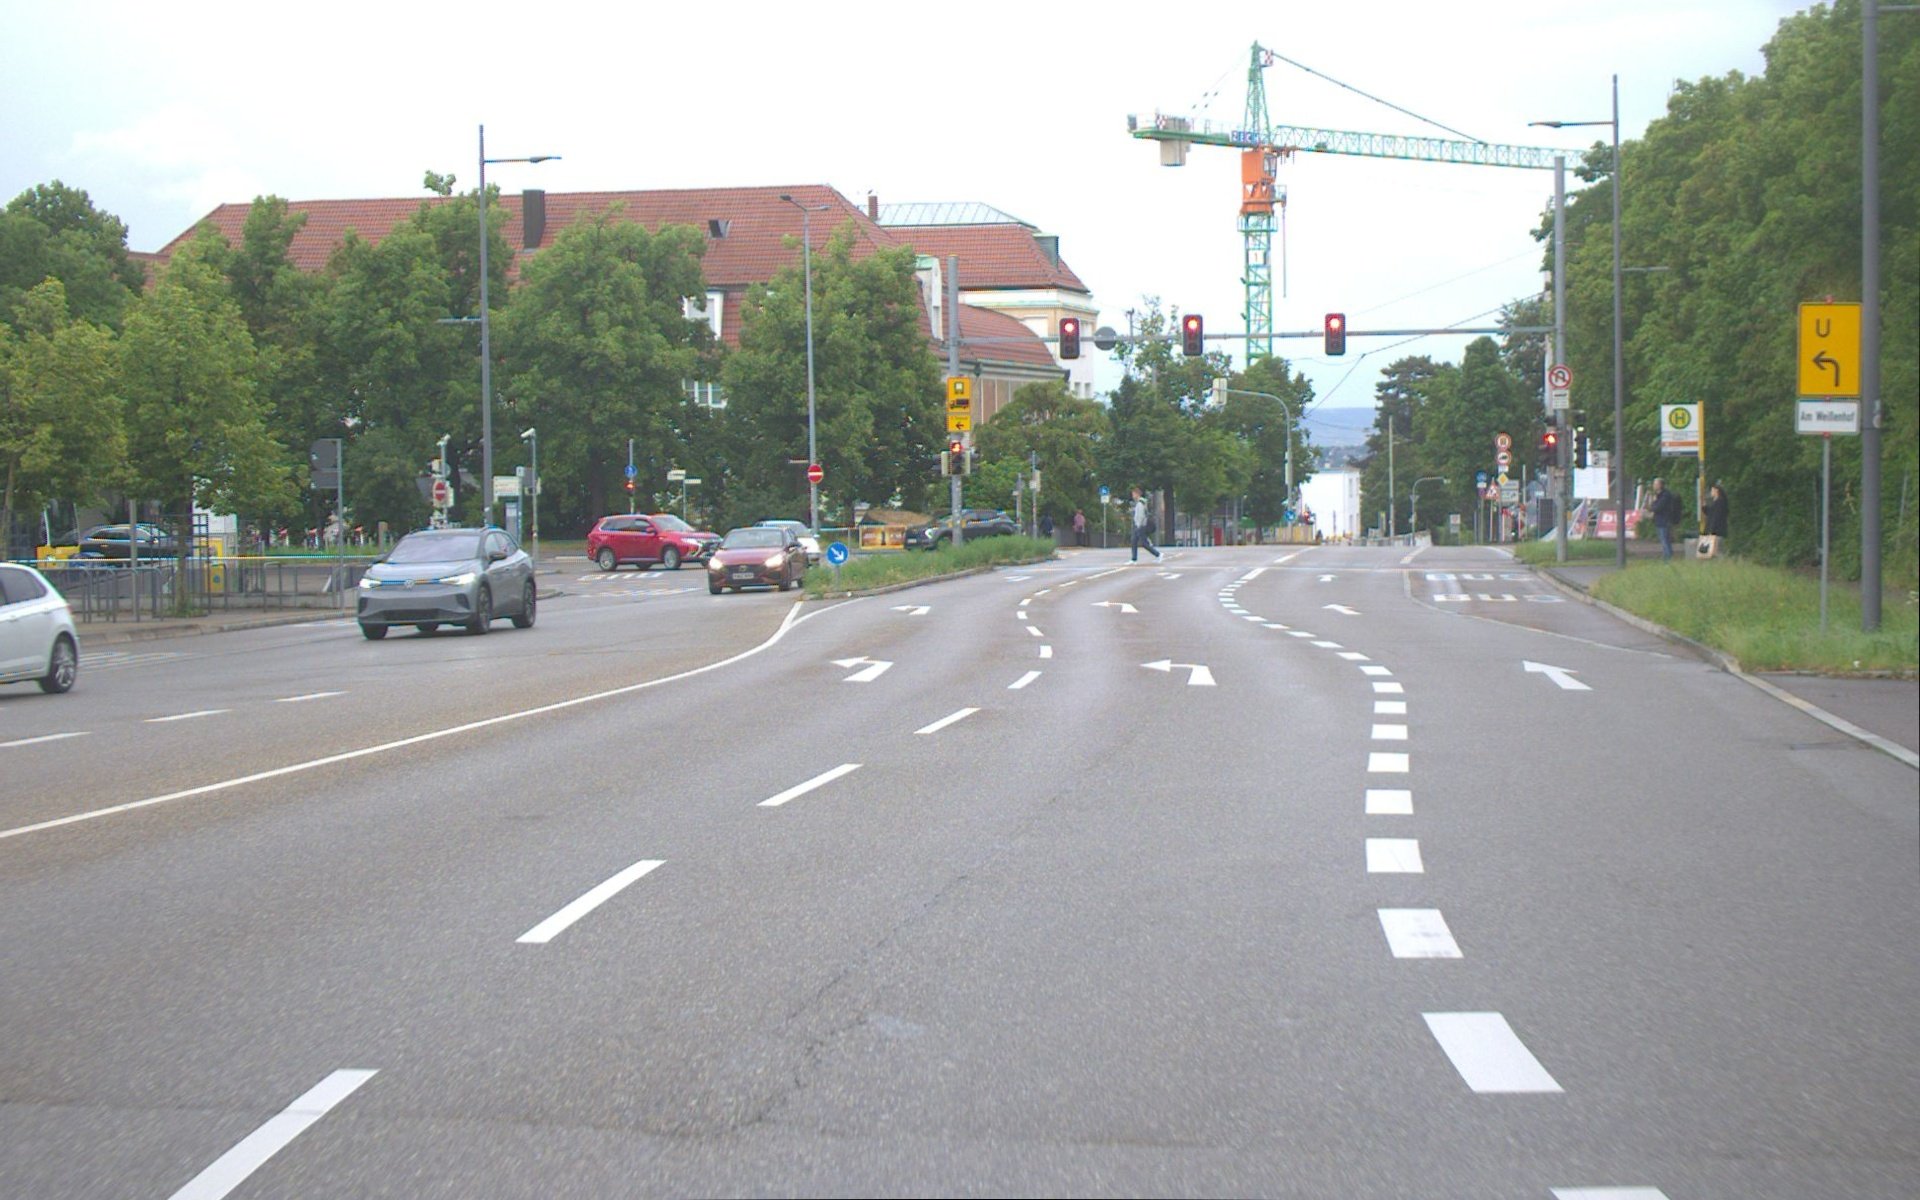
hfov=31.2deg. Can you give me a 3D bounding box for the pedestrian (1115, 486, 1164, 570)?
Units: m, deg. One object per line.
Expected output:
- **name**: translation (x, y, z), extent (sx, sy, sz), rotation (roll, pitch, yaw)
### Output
- **pedestrian**: translation (4.386, -1.762, 83.954), extent (0.941, 2.007, 0.846), rotation (-3, 1, 13)

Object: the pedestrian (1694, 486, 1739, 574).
- **pedestrian**: translation (14.408, -1.340, 65.490), extent (0.675, 1.652, 0.793), rotation (-1, 1, 2)

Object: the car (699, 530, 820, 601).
- **car**: translation (-4.468, -0.793, 77.193), extent (1.832, 1.411, 4.464), rotation (-3, 1, 7)

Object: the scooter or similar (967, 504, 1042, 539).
- **scooter or similar**: translation (1.890, -3.311, 145.032), extent (3.088, 1.435, 0.949), rotation (-1, 1, 6)

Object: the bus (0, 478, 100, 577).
- **bus**: translation (-32.912, -2.289, 110.668), extent (9.728, 3.092, 2.897), rotation (-1, 1, 8)

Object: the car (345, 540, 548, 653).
- **car**: translation (-7.809, -0.078, 52.710), extent (1.832, 1.567, 4.592), rotation (-3, 0, 7)

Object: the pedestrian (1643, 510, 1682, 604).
- **pedestrian**: translation (14.302, -0.875, 69.999), extent (0.640, 1.894, 0.718), rotation (-1, 1, 2)

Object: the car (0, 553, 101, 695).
- **car**: translation (-10.483, 0.277, 35.067), extent (1.873, 1.425, 4.175), rotation (-3, 0, 7)

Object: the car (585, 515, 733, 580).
- **car**: translation (-9.021, -1.573, 103.135), extent (3.993, 1.910, 1.997), rotation (0, 1, 30)
